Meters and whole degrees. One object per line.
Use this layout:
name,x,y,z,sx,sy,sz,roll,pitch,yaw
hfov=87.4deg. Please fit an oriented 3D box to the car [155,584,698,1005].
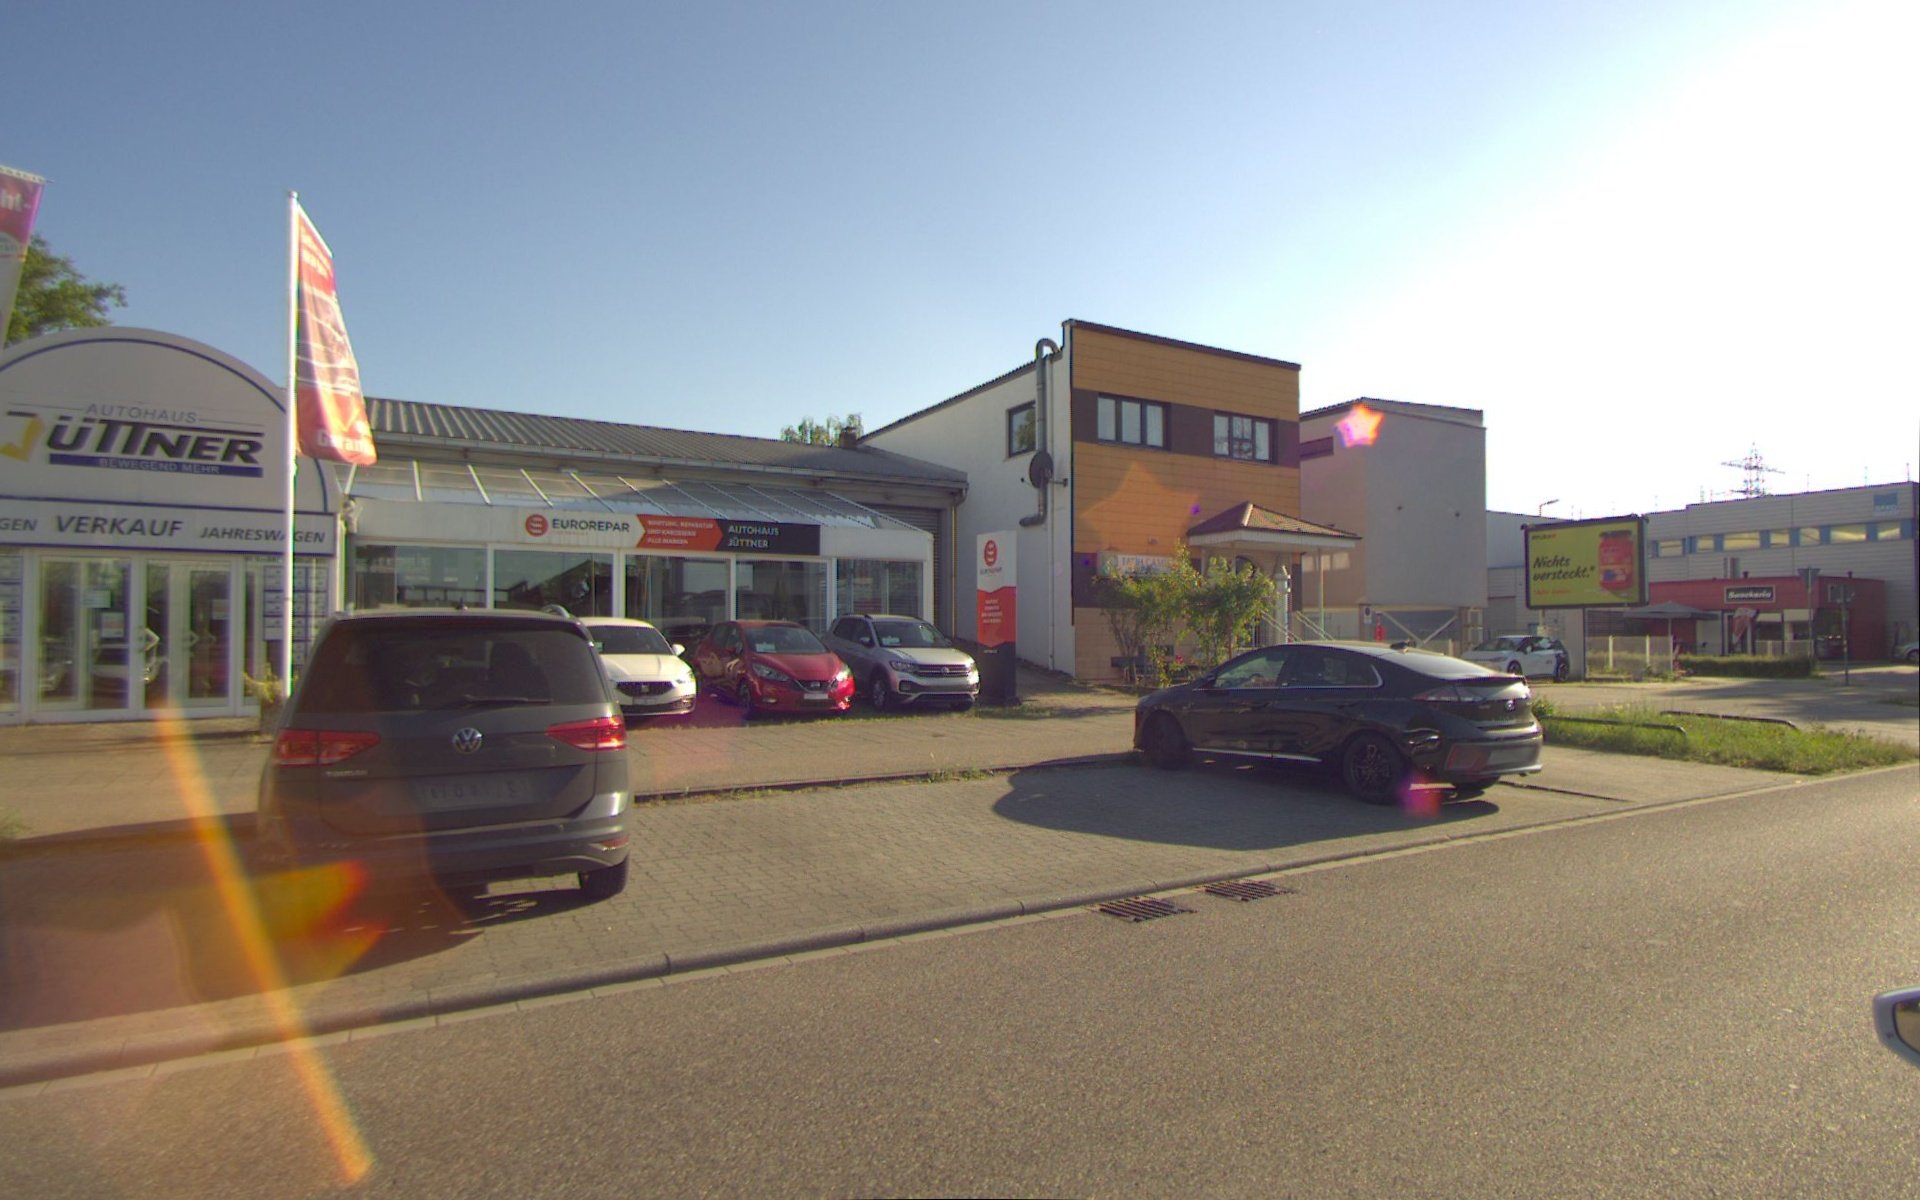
car,-3.406,0.825,6.397,2.178,1.677,4.207,2,-1,-32

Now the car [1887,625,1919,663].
car,46.008,2.061,46.464,4.582,1.764,1.988,0,-1,45

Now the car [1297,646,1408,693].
car,15.157,2.643,38.782,3.953,1.639,1.984,1,-1,-30

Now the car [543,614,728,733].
car,-5.150,1.028,15.600,1.976,1.576,3.969,1,-1,-30

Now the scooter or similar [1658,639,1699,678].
scooter or similar,23.559,1.897,32.950,0.613,1.216,1.390,1,-1,14

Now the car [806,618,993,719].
car,-1.206,1.144,18.137,1.865,1.576,3.893,1,-1,-30

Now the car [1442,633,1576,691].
car,18.186,2.005,33.244,4.289,1.598,1.984,-1,0,-30

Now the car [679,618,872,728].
car,-3.197,1.109,16.771,1.976,1.576,3.969,1,-1,-30

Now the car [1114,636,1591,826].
car,3.886,1.166,10.677,2.178,1.479,4.289,2,-1,-32
